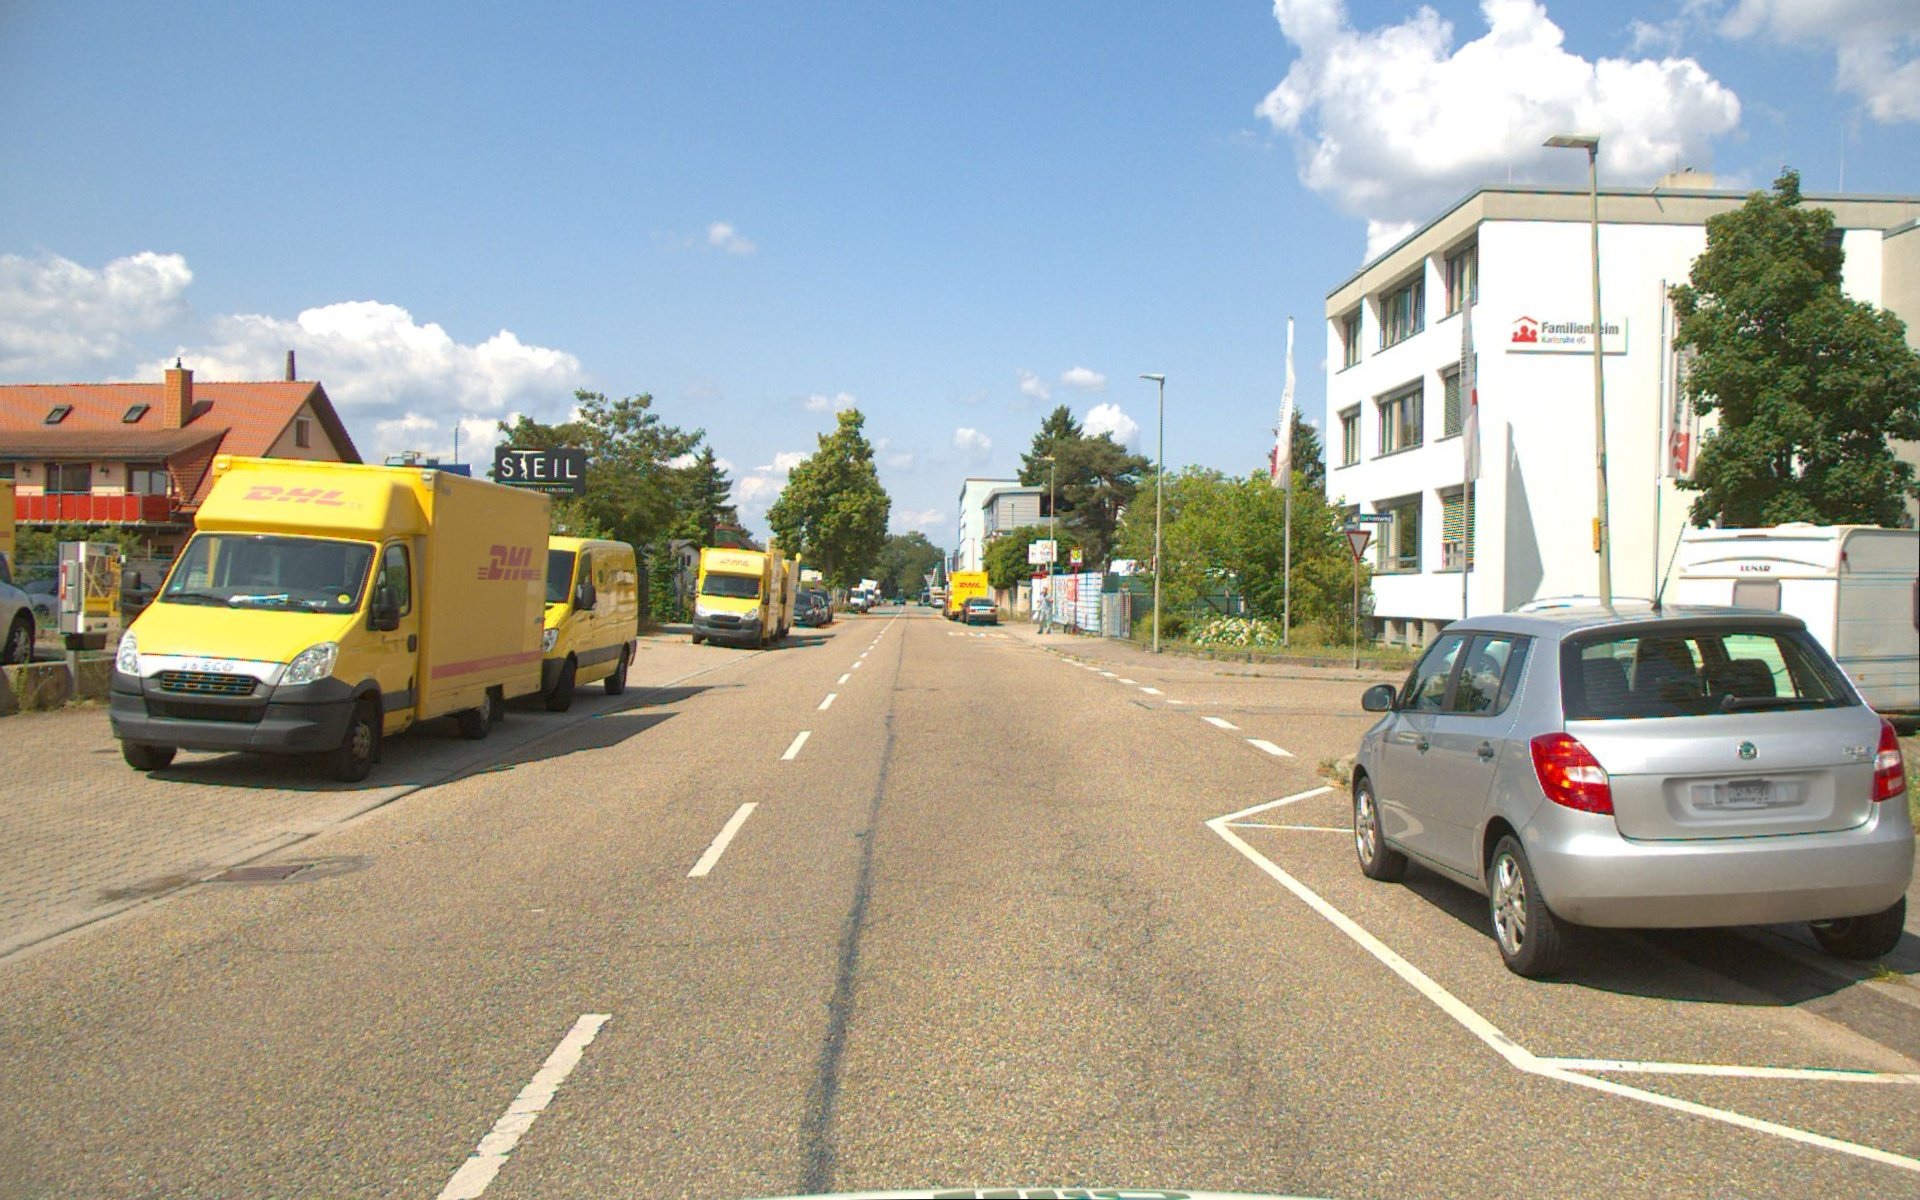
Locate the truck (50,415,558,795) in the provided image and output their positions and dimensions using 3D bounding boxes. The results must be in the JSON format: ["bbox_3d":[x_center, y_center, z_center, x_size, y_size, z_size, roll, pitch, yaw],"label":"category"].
[{"bbox_3d":[-6.027,0.027,16.570,2.175,2.907,7.069,2,0,0],"label":"truck"}]

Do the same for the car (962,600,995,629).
[{"bbox_3d":[0.969,0.777,88.811,1.618,1.411,4.421,2,1,-2],"label":"car"}]

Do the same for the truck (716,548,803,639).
[{"bbox_3d":[-7.025,-0.219,58.692,2.270,2.912,7.102,3,0,-2],"label":"truck"}]

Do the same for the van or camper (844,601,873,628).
[{"bbox_3d":[-9.801,1.344,159.627,2.128,2.455,7.698,1,0,1],"label":"van or camper"}]

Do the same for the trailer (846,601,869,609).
[{"bbox_3d":[-11.831,0.592,190.592,2.368,0.828,5.535,3,0,-1],"label":"trailer"}]

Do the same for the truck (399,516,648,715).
[{"bbox_3d":[-6.026,0.178,23.694,1.953,2.456,6.064,1,0,0],"label":"truck"}]

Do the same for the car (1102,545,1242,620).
[{"bbox_3d":[7.900,-0.628,61.887,4.816,2.698,2.069,1,0,-10],"label":"car"}]

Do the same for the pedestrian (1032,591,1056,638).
[{"bbox_3d":[3.219,0.566,63.449,0.702,1.726,0.522,-5,0,-6],"label":"pedestrian"}]

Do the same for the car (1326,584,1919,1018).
[{"bbox_3d":[3.100,0.765,8.324,1.577,1.608,4.000,2,0,0],"label":"car"}]

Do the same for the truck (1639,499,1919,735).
[{"bbox_3d":[11.690,0.216,20.918,5.971,2.622,2.543,1,0,-28],"label":"truck"}]

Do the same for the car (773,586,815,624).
[{"bbox_3d":[-7.745,0.218,77.553,1.690,1.632,4.411,4,0,-3],"label":"car"}]

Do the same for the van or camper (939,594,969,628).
[{"bbox_3d":[-0.460,0.778,120.781,1.953,2.331,5.446,2,0,-2],"label":"van or camper"}]

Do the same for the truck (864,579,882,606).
[{"bbox_3d":[-10.755,-0.937,204.571,1.988,3.209,6.498,0,0,-2],"label":"truck"}]

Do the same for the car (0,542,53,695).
[{"bbox_3d":[-11.760,0.242,18.109,1.795,1.735,4.697,1,2,-10],"label":"car"}]

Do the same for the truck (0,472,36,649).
[{"bbox_3d":[-19.064,-0.700,27.356,6.457,2.900,2.531,1,0,11],"label":"truck"}]

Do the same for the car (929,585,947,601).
[{"bbox_3d":[-2.771,-0.885,206.648,2.171,2.049,5.483,0,0,-2],"label":"car"}]

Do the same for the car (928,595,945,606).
[{"bbox_3d":[-2.792,0.044,193.085,1.889,1.333,3.999,0,0,-2],"label":"car"}]

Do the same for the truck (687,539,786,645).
[{"bbox_3d":[-6.679,-0.197,50.255,2.223,2.904,7.170,2,-1,-2],"label":"truck"}]

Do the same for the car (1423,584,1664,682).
[{"bbox_3d":[11.279,0.649,32.231,4.302,1.783,1.866,1,-2,16],"label":"car"}]

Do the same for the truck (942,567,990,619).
[{"bbox_3d":[0.298,-0.411,100.595,2.425,2.991,7.184,2,0,-3],"label":"truck"}]

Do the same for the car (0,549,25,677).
[{"bbox_3d":[-15.841,0.093,23.698,3.845,1.841,1.857,3,0,8],"label":"car"}]
